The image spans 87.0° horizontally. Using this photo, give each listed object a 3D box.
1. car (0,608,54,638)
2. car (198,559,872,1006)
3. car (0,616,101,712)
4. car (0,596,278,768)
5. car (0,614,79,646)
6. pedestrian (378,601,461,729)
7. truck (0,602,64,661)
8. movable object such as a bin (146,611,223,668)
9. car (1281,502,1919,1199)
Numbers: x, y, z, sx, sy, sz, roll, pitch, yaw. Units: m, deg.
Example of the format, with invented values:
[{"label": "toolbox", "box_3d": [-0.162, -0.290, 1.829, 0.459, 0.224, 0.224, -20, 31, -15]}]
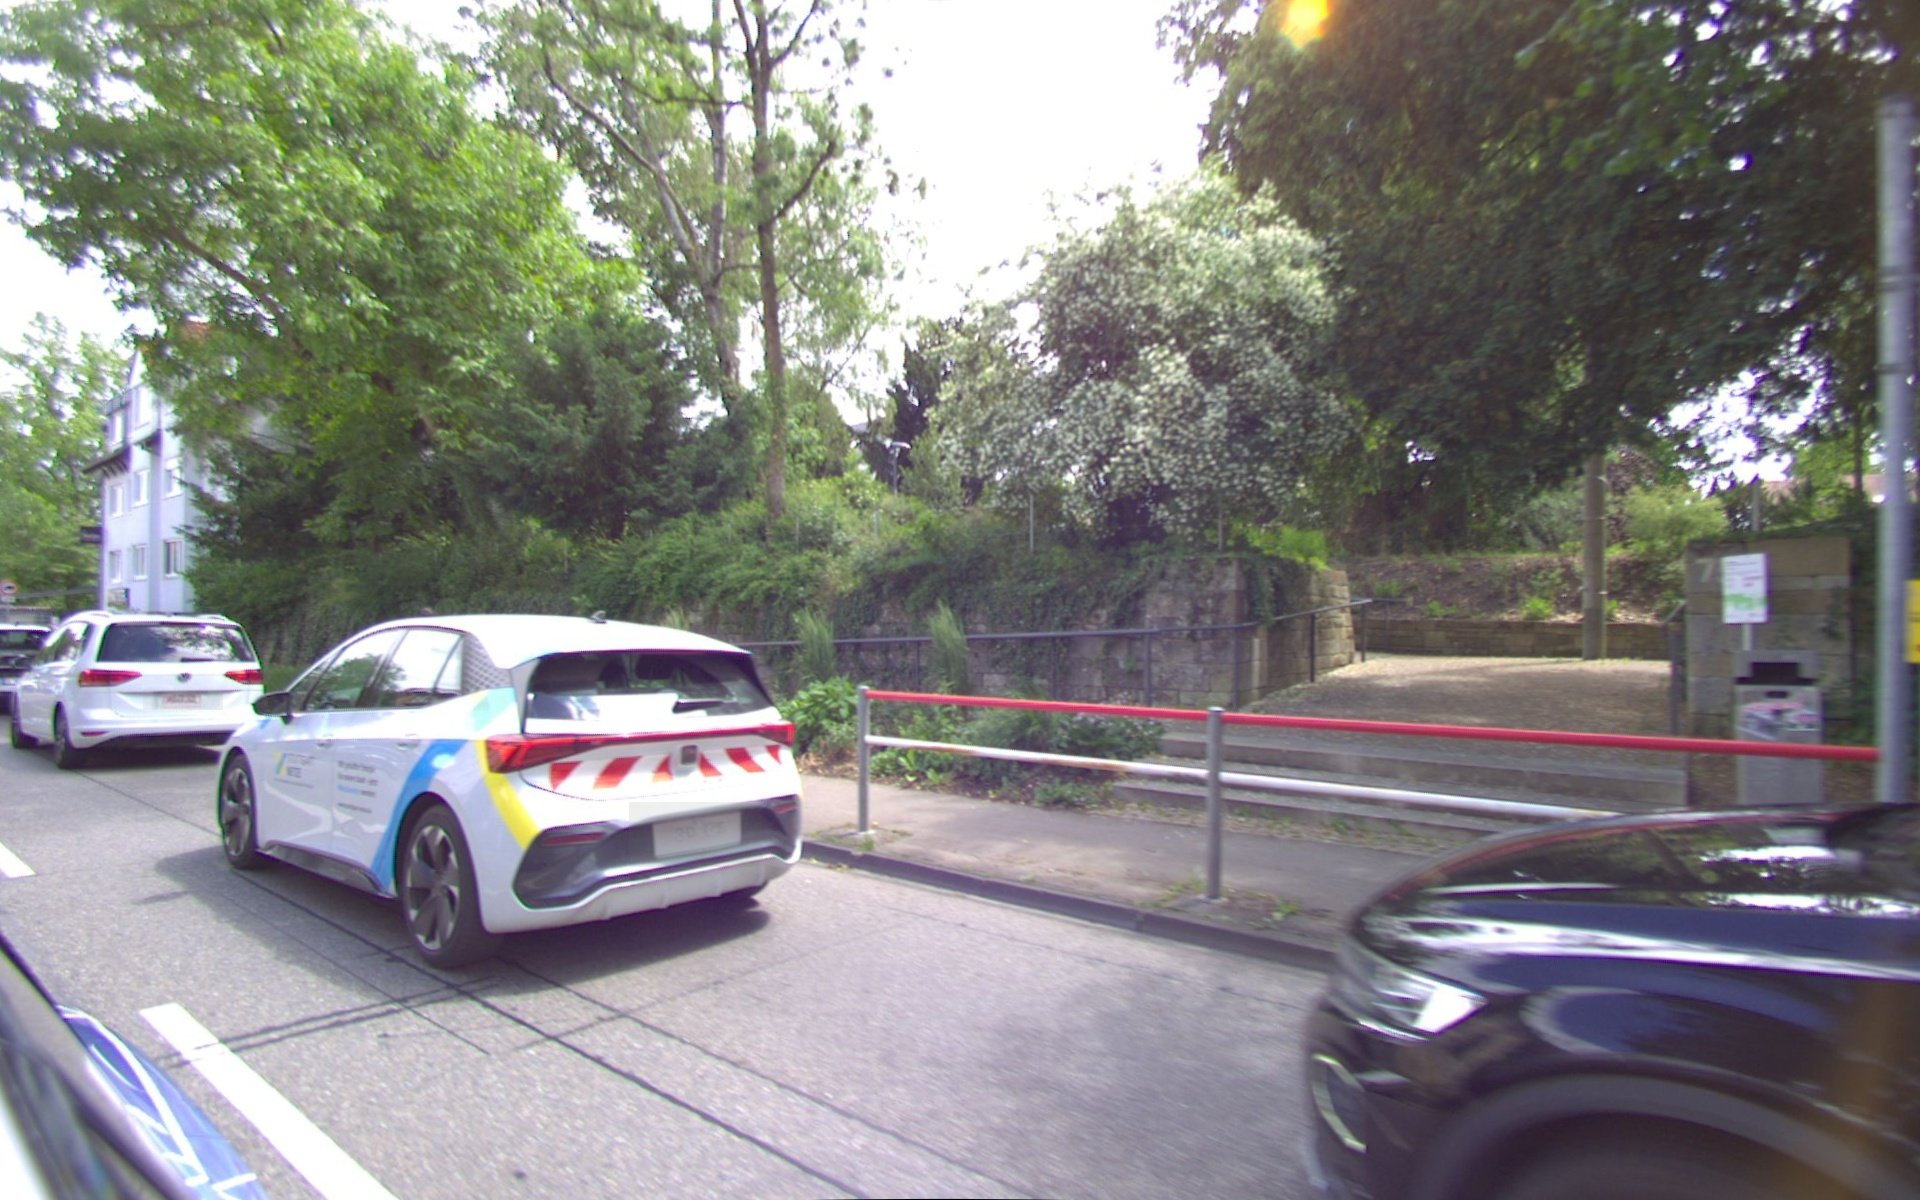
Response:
[{"label": "car", "box_3d": [-67.405, 1.635, 71.587, 2.091, 2.024, 4.579, -1, 0, 36]}, {"label": "car", "box_3d": [-2.590, 0.718, 5.674, 4.150, 1.604, 1.767, -1, -3, 40]}, {"label": "car", "box_3d": [-17.088, 1.103, 18.061, 4.082, 1.558, 1.908, -2, -4, 39]}, {"label": "car", "box_3d": [-9.834, 0.864, 11.930, 4.486, 1.660, 1.768, -1, -3, 40]}, {"label": "car", "box_3d": [-45.857, 1.455, 49.628, 1.801, 1.436, 3.660, -1, 0, 35]}, {"label": "pedestrian", "box_3d": [-7.358, 0.852, 13.773, 0.929, 1.679, 0.647, 0, 0, 34]}, {"label": "truck", "box_3d": [-40.804, 1.287, 43.922, 6.324, 2.398, 2.201, 0, 0, 42]}, {"label": "movable object such as a bin", "box_3d": [-20.778, 1.033, 27.135, 1.211, 1.438, 1.319, 0, 0, 33]}, {"label": "car", "box_3d": [2.779, 0.647, 1.152, 4.261, 1.553, 1.770, -1, -3, 41]}]
